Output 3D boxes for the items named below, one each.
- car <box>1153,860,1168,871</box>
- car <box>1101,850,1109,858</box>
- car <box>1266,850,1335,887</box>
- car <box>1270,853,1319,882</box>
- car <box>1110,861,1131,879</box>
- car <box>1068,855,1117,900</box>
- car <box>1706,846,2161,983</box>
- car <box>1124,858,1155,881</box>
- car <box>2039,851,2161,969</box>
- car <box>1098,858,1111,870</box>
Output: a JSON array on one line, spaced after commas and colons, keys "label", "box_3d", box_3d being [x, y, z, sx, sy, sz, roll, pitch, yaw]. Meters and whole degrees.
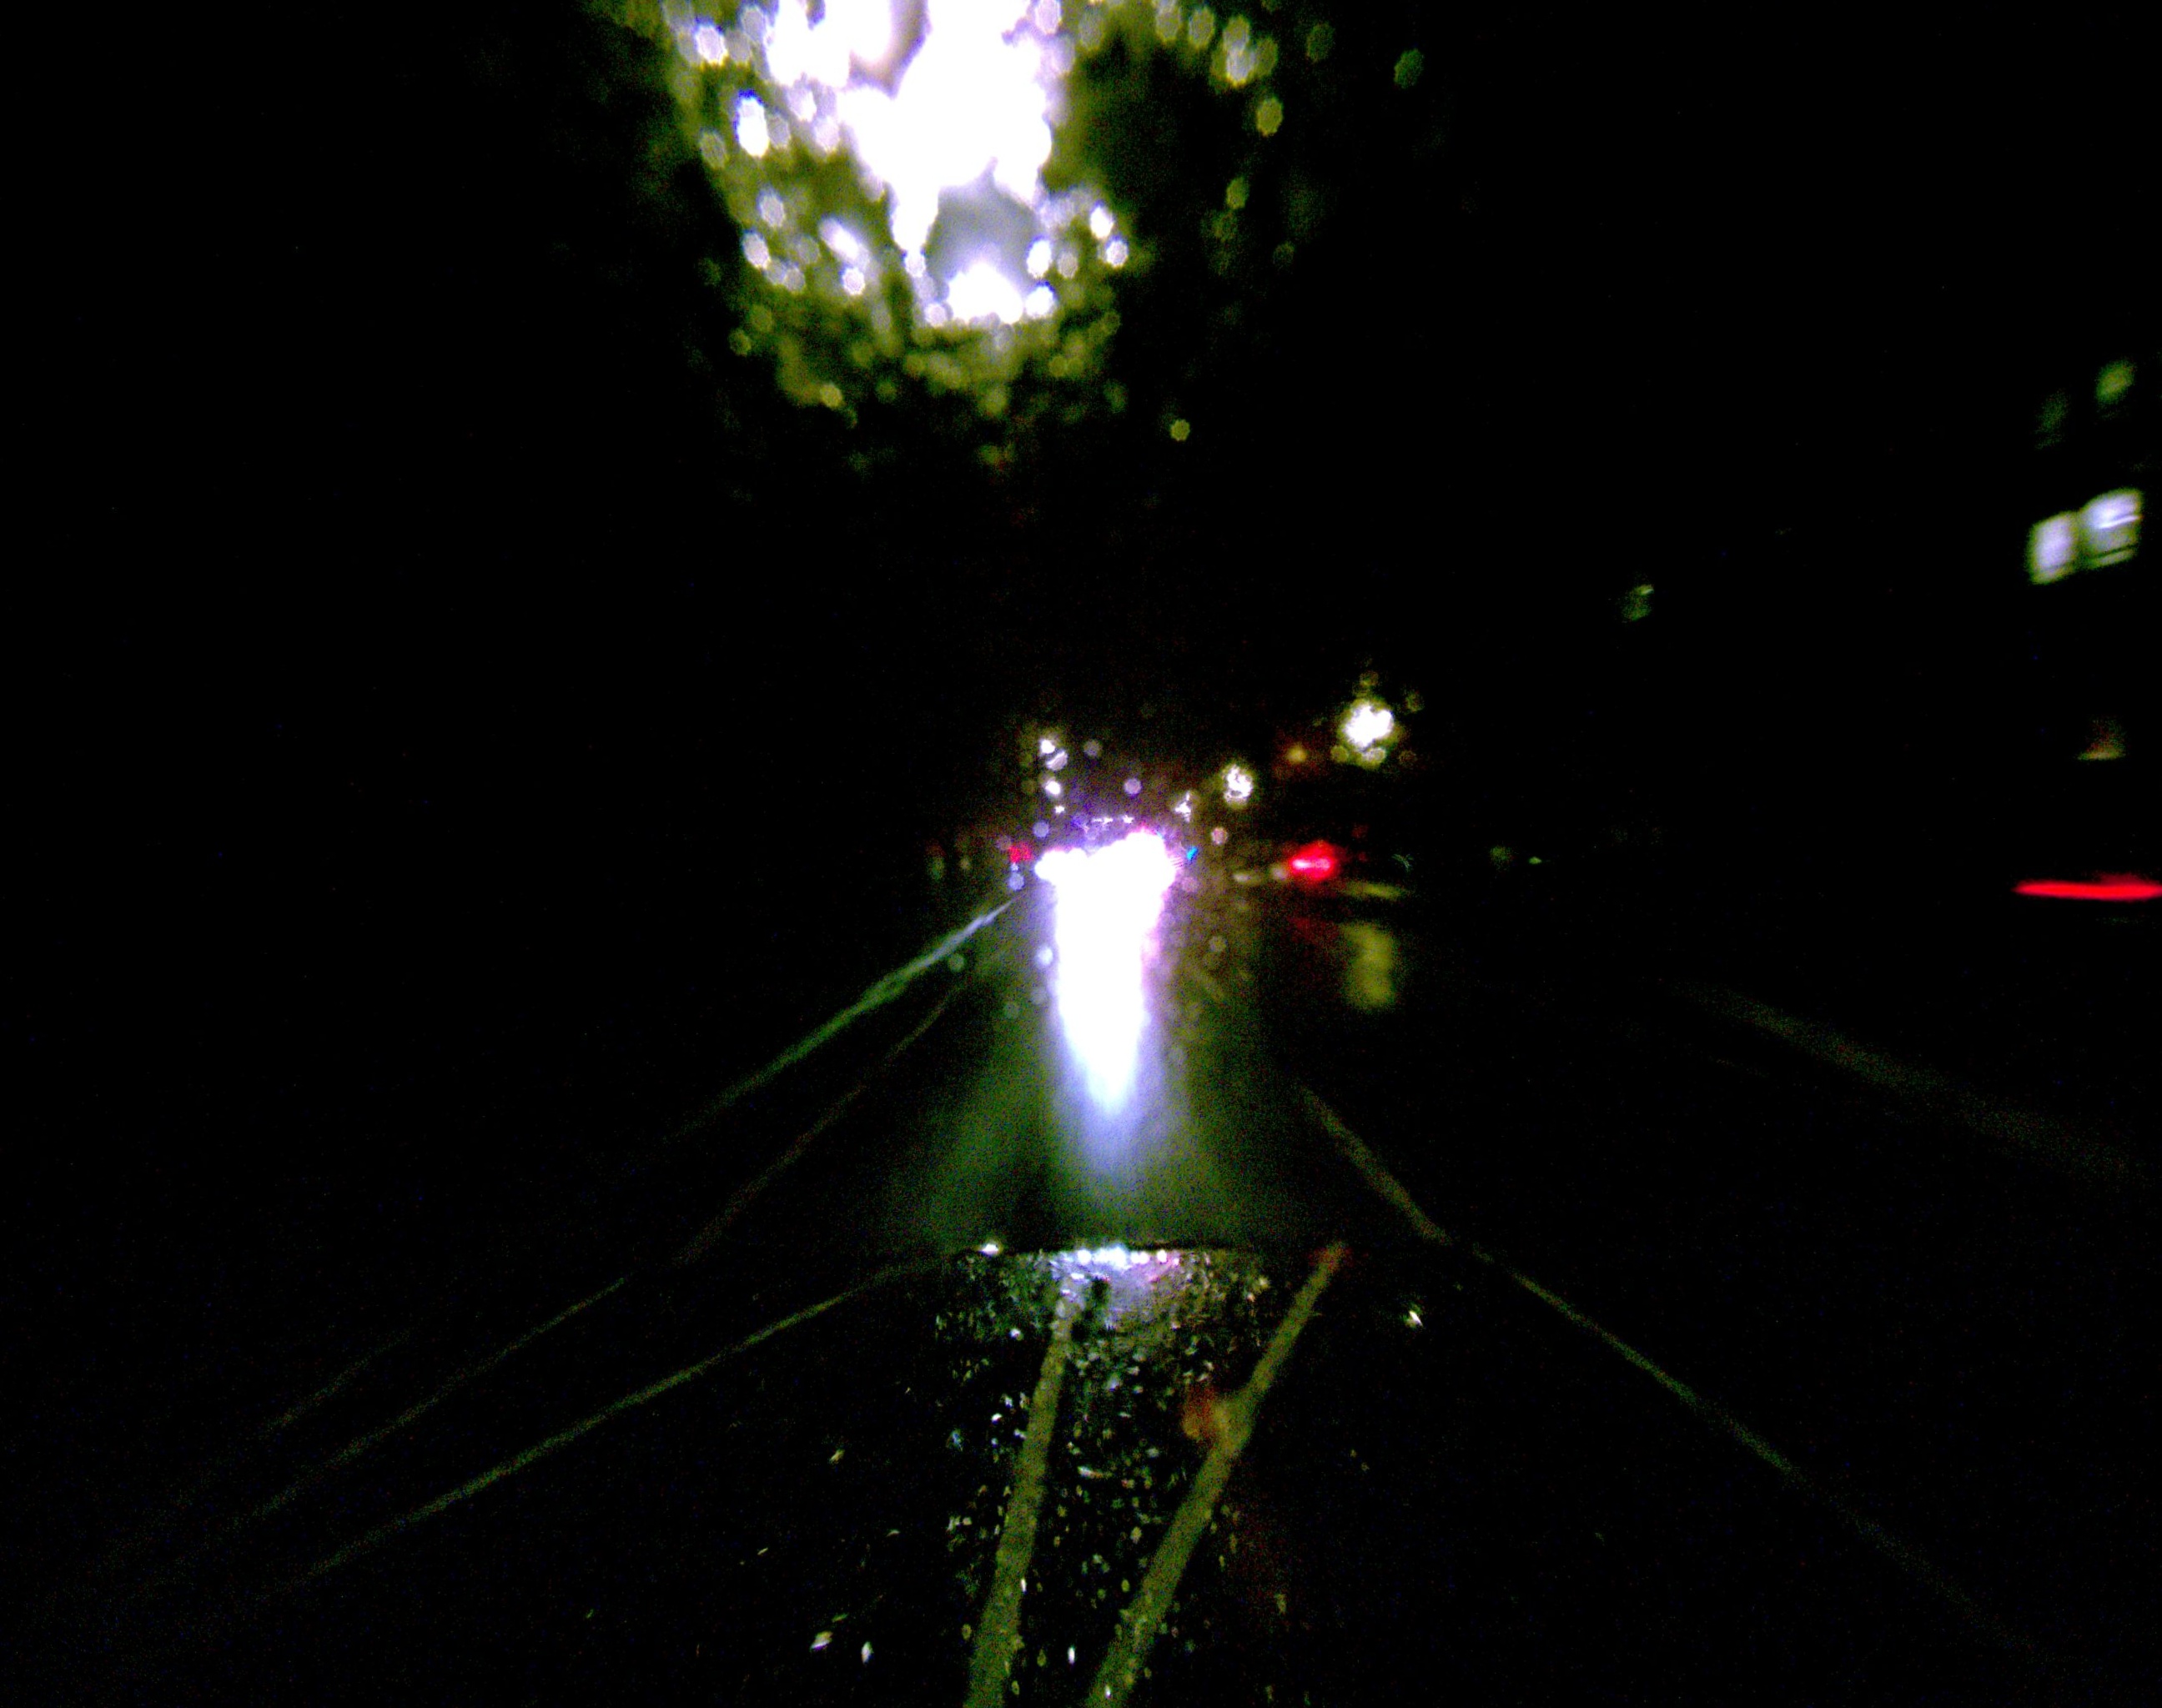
[{"label": "car", "box_3d": [12.233, 1.788, 117.246, 1.711, 1.568, 3.819, -2, 0, -2]}, {"label": "car", "box_3d": [5.576, 0.046, 176.602, 1.834, 1.696, 4.194, -2, 0, 0]}, {"label": "car", "box_3d": [10.152, 0.638, 35.476, 1.848, 1.583, 4.256, 2, 0, -2]}, {"label": "car", "box_3d": [12.841, 0.784, 45.894, 1.711, 1.568, 3.819, -2, 0, -2]}, {"label": "car", "box_3d": [4.038, 1.587, 77.553, 1.834, 1.696, 4.194, -2, 0, 0]}, {"label": "car", "box_3d": [0.450, 0.956, 33.068, 1.950, 1.709, 4.441, -2, 0, 0]}, {"label": "car", "box_3d": [13.009, 0.722, 11.840, 1.848, 1.583, 5.325, -2, 0, -4]}, {"label": "car", "box_3d": [4.216, 1.108, 55.324, 1.834, 1.518, 4.874, -2, 0, 0]}, {"label": "car", "box_3d": [16.012, 0.786, 9.597, 1.848, 1.583, 4.750, -2, 0, 1]}, {"label": "car", "box_3d": [3.773, 1.561, 121.345, 1.834, 1.696, 4.194, -2, 0, 0]}]
